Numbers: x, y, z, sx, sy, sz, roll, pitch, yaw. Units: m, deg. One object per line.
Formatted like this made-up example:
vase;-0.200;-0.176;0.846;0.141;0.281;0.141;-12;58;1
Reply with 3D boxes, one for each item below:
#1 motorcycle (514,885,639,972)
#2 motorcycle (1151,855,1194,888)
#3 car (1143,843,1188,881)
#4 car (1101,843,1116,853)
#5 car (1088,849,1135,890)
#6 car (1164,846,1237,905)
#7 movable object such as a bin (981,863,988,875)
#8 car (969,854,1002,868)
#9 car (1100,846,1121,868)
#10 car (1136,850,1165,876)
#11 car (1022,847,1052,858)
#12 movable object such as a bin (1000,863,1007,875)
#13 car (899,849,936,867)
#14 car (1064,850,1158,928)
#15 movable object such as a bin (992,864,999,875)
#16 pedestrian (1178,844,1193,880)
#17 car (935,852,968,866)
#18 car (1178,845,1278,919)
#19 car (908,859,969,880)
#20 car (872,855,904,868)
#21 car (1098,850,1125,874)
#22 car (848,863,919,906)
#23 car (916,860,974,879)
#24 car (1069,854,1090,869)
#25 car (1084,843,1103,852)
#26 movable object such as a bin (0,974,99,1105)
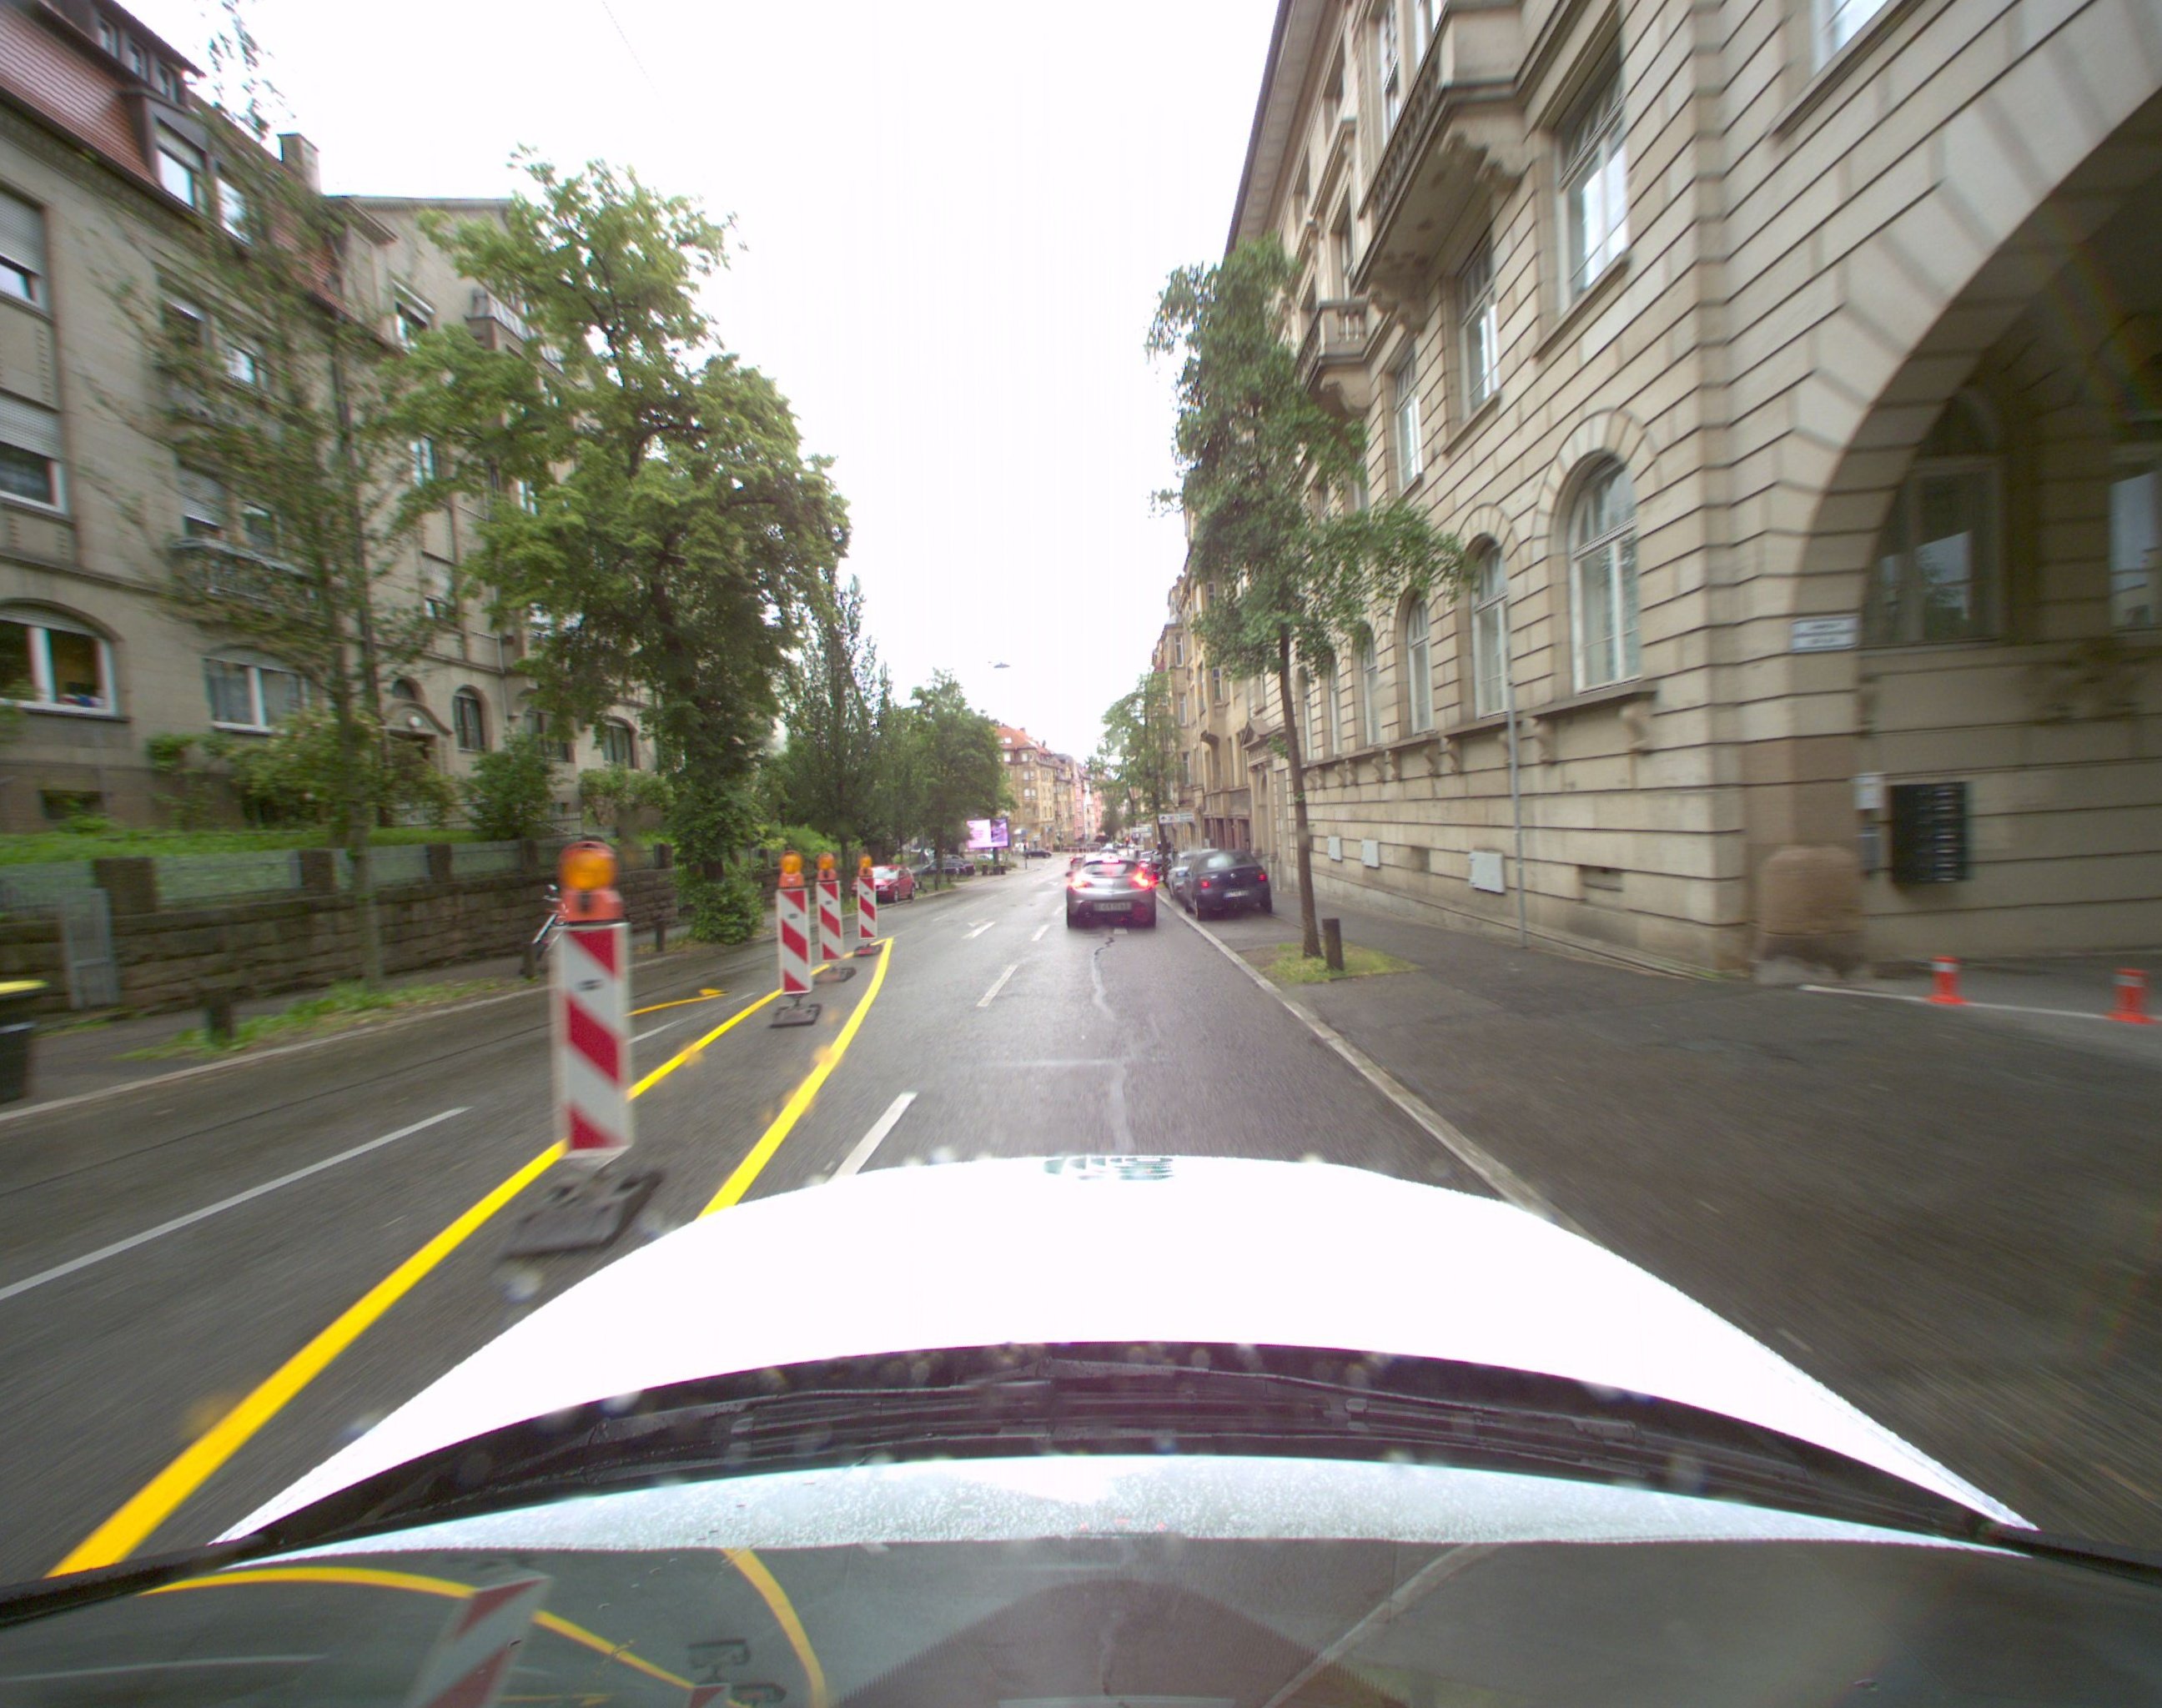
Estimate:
motorcycle;-8.816;1.253;14.362;0.762;1.346;2.204;-1;-1;2
motorcycle;3.613;0.662;32.007;0.649;1.235;1.994;-2;-1;41
car;3.926;0.337;38.389;1.632;1.602;3.856;-3;0;-1
car;4.845;-0.958;142.028;1.980;1.684;4.013;0;0;12
car;1.202;0.589;33.312;1.766;1.504;3.869;-2;1;0
car;3.368;0.559;23.556;1.631;1.469;3.860;-3;0;2
movable object such as a bin;-8.973;1.384;75.631;0.624;1.058;0.633;0;0;-4
car;-12.690;0.873;107.869;3.952;1.750;1.762;-1;-1;22
car;2.517;0.228;69.635;1.650;1.782;3.667;-2;0;2
car;4.524;0.562;53.146;1.631;1.524;3.860;-3;0;2
car;-6.445;-0.248;120.323;4.212;1.585;1.940;-1;0;1
movable object such as a bin;-7.324;1.391;76.633;0.657;1.058;0.626;0;0;-7
car;-23.565;0.540;117.346;4.668;2.442;2.009;-1;-1;17
car;0.616;0.664;17.807;1.805;1.449;3.870;-2;1;1
movable object such as a bin;-7.946;1.429;75.547;0.624;1.058;0.719;0;0;-4
pedestrian;5.533;0.424;43.061;0.713;1.870;0.636;-1;-1;1
car;-17.320;0.684;109.210;3.955;1.750;1.760;-1;-1;17
car;3.229;0.564;18.442;1.631;1.429;3.377;-3;0;1
car;-10.786;1.166;61.439;4.321;1.243;1.633;-4;0;-18
car;-26.609;0.998;112.286;3.955;1.750;1.760;-1;-1;17
car;2.131;0.548;57.889;1.652;1.543;3.664;-5;0;-1
car;-7.878;1.182;32.813;1.631;1.439;4.082;-3;0;2
car;-10.745;1.234;64.470;4.321;1.243;1.633;-4;0;-18
car;-0.155;0.757;85.036;1.986;1.500;4.002;-3;0;2
car;2.540;-1.401;167.207;3.972;1.750;2.001;0;0;1
movable object such as a bin;-8.555;1.470;6.526;0.601;0.907;0.624;-1;0;3
